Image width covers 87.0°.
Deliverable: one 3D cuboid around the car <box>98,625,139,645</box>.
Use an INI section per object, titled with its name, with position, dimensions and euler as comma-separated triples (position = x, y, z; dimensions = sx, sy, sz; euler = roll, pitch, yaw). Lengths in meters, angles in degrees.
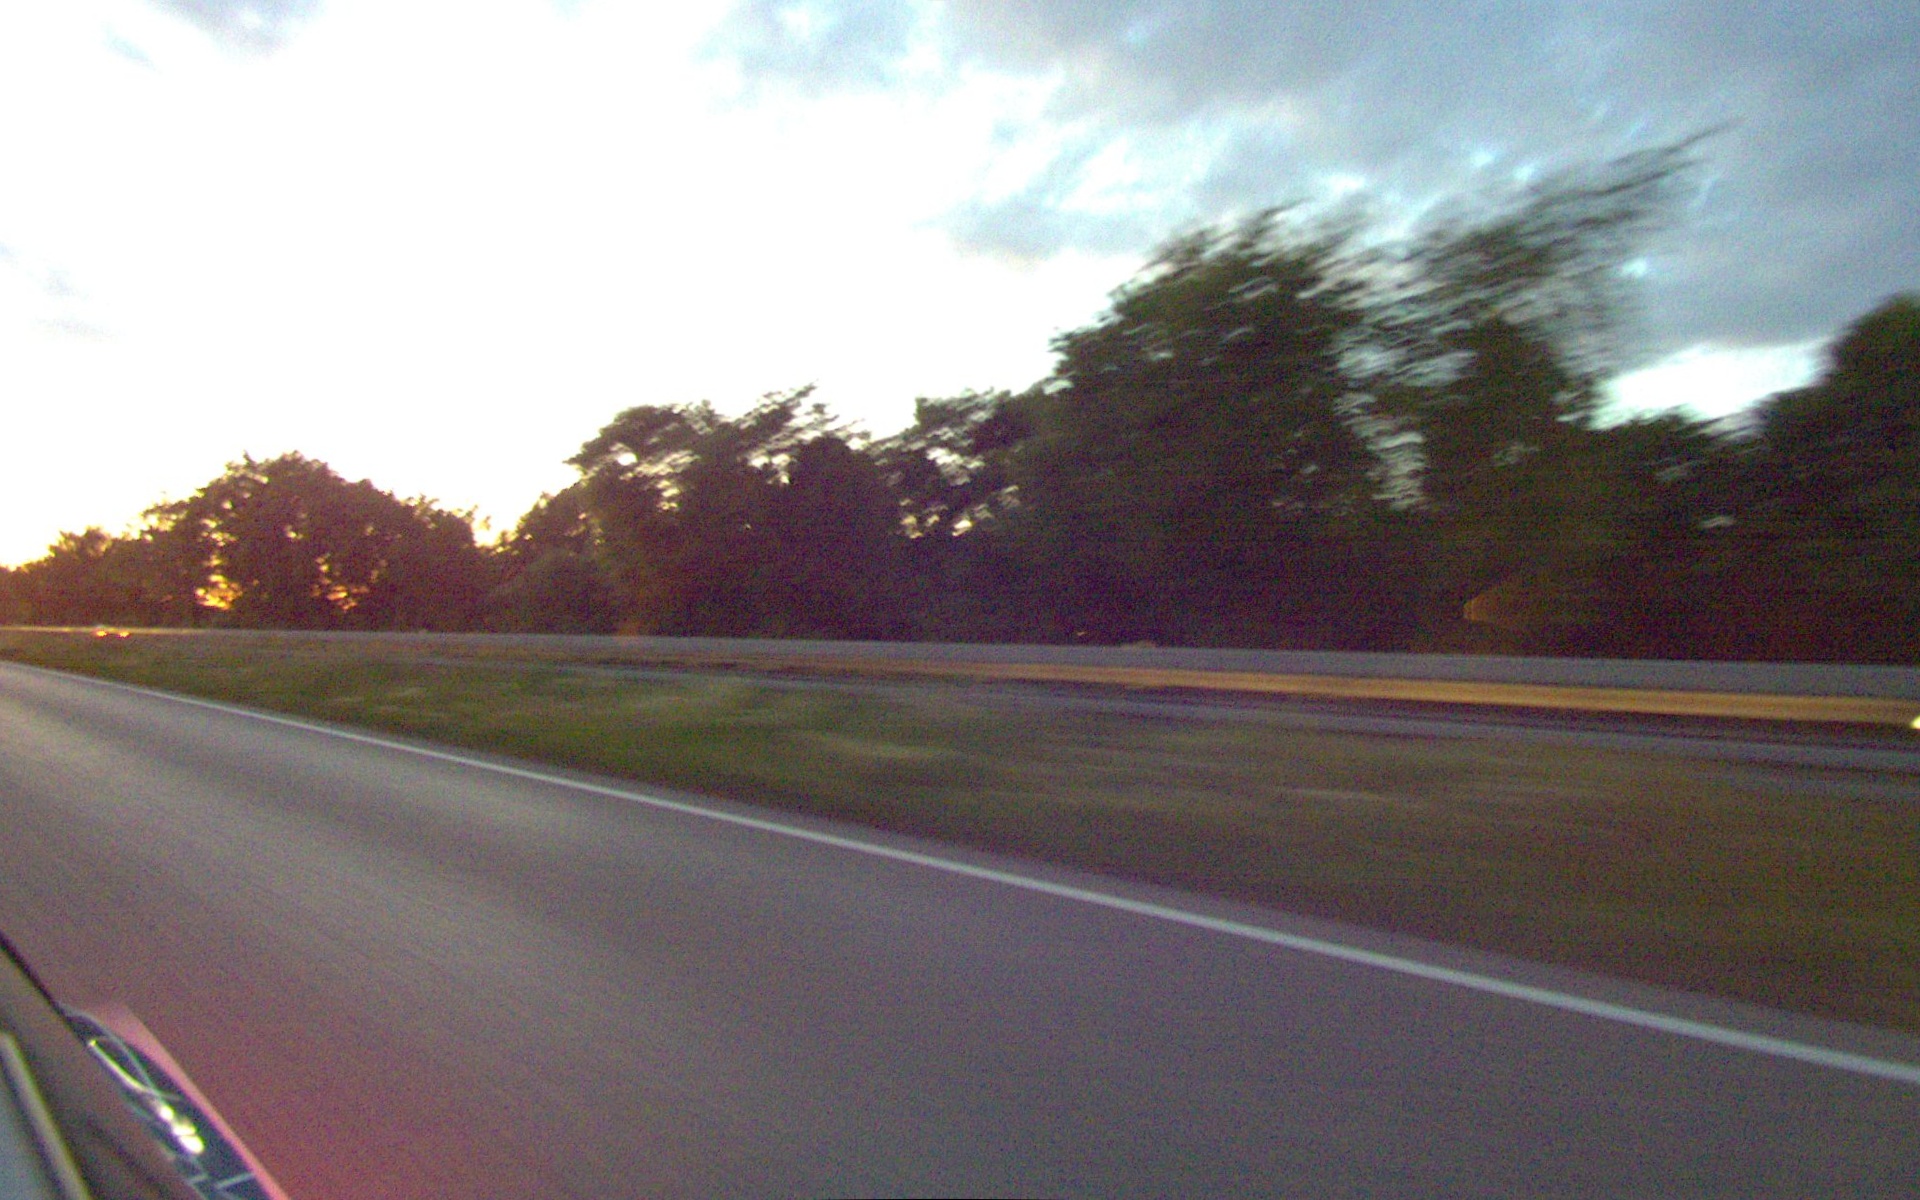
[car]
position = -59.510, 2.445, 71.557
dimensions = 3.938, 1.333, 1.612
euler = -1, -1, 41
